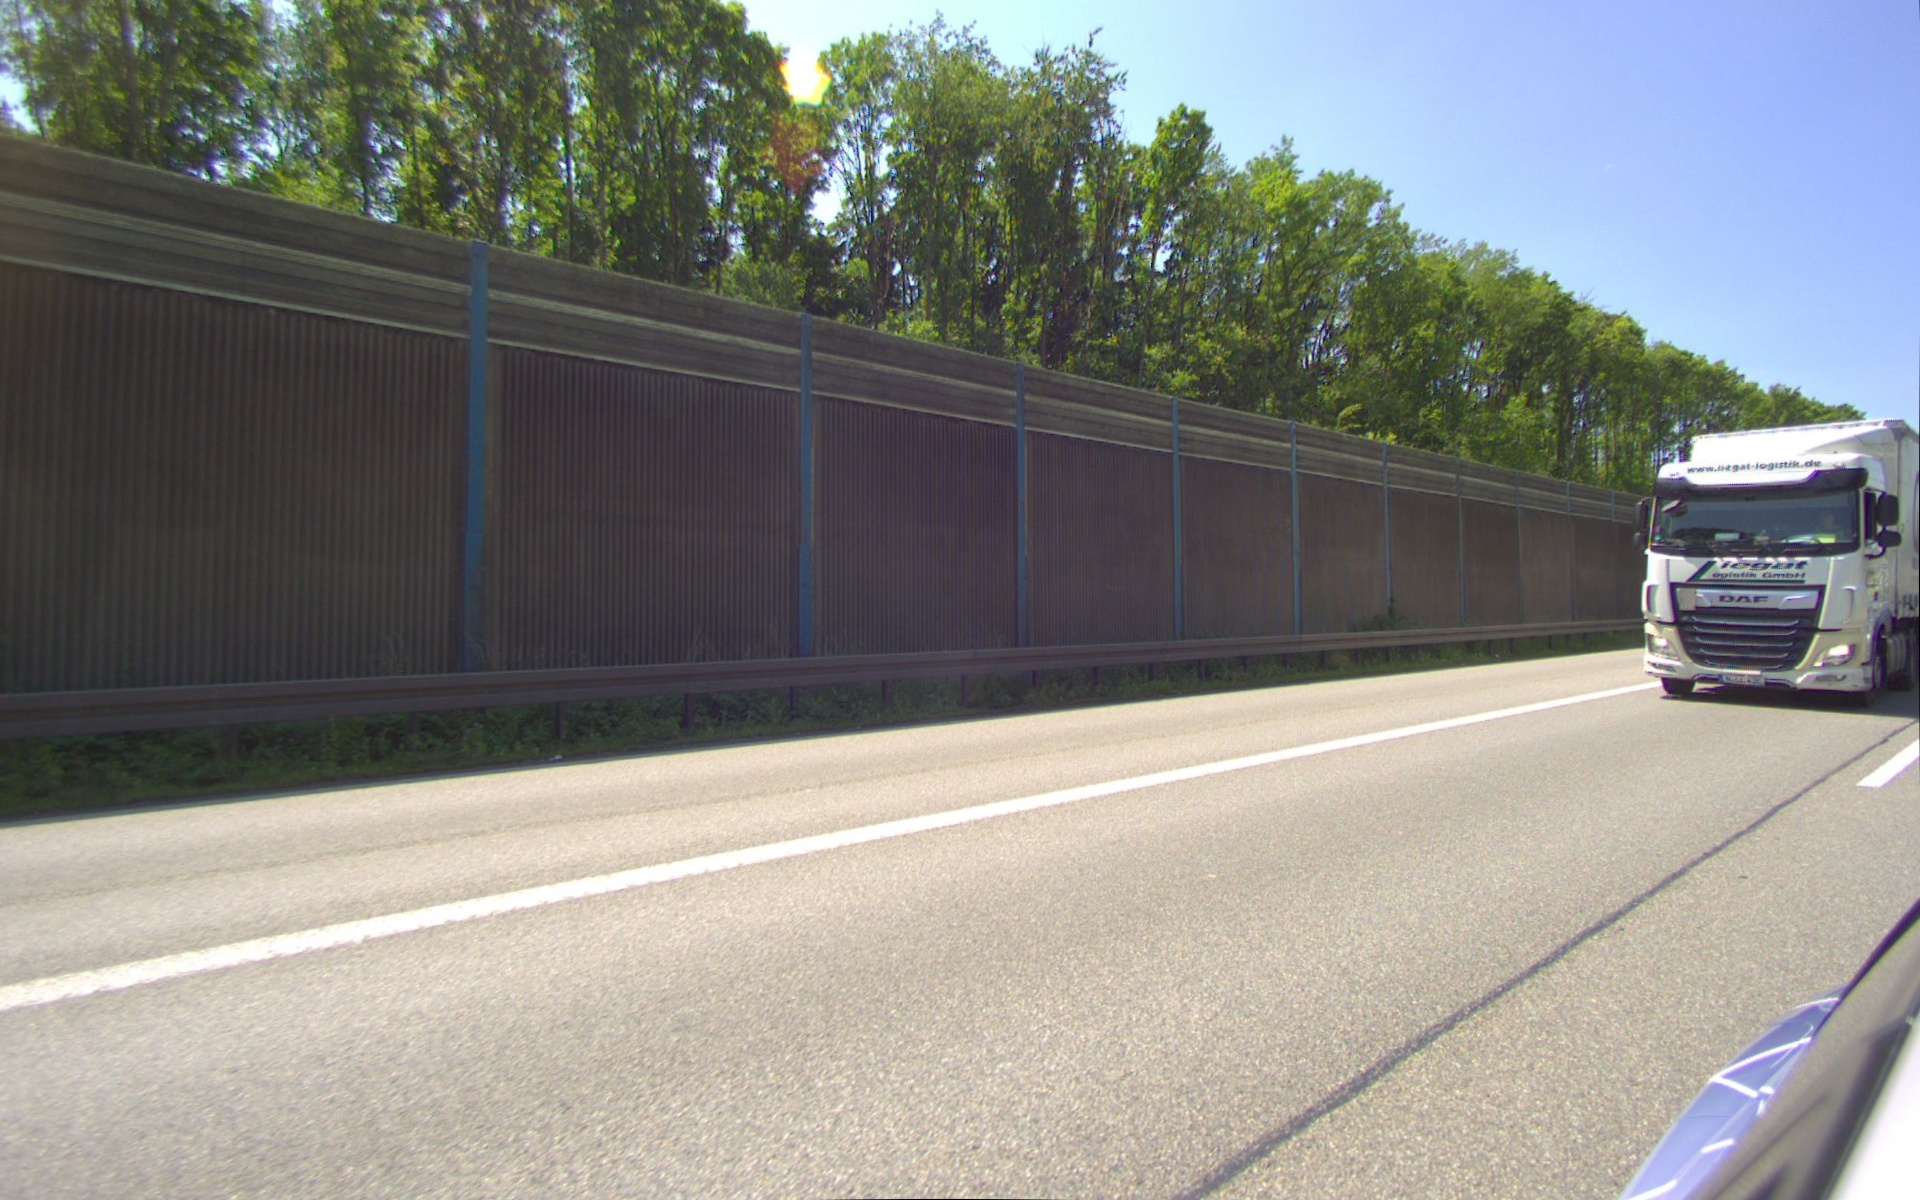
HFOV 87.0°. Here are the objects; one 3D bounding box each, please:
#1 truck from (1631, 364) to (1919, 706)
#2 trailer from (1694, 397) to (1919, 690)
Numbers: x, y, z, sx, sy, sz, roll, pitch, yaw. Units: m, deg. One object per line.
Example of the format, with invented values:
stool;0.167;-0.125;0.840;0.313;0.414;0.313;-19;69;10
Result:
truck;12.848;-0.810;15.556;5.766;4.258;2.791;0;0;-41
trailer;18.007;-0.816;19.967;13.010;4.258;2.791;0;0;-41
